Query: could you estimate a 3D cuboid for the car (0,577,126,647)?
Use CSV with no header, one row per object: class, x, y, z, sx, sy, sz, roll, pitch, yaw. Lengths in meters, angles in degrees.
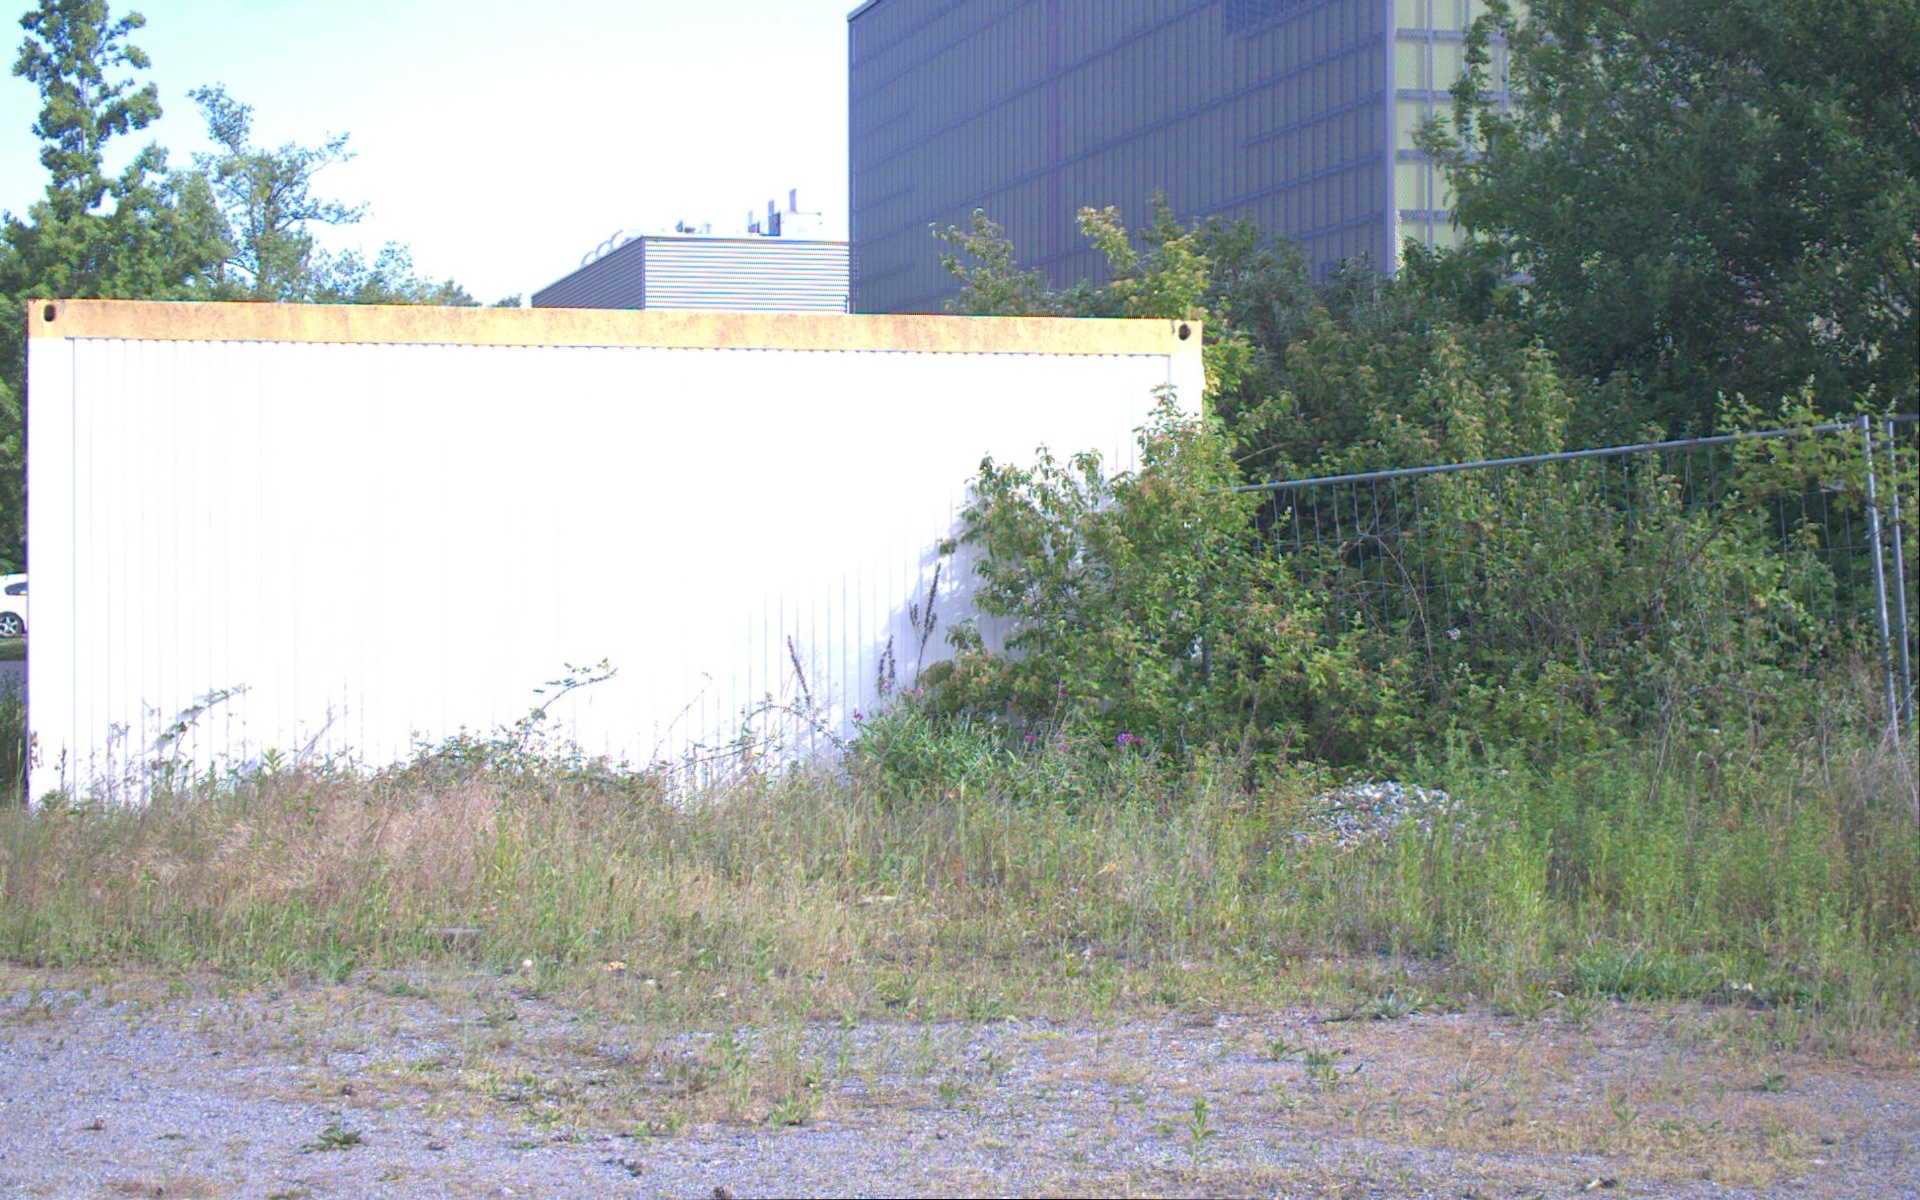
car,-21.867,0.278,81.420,3.986,1.637,2.001,0,0,-10
